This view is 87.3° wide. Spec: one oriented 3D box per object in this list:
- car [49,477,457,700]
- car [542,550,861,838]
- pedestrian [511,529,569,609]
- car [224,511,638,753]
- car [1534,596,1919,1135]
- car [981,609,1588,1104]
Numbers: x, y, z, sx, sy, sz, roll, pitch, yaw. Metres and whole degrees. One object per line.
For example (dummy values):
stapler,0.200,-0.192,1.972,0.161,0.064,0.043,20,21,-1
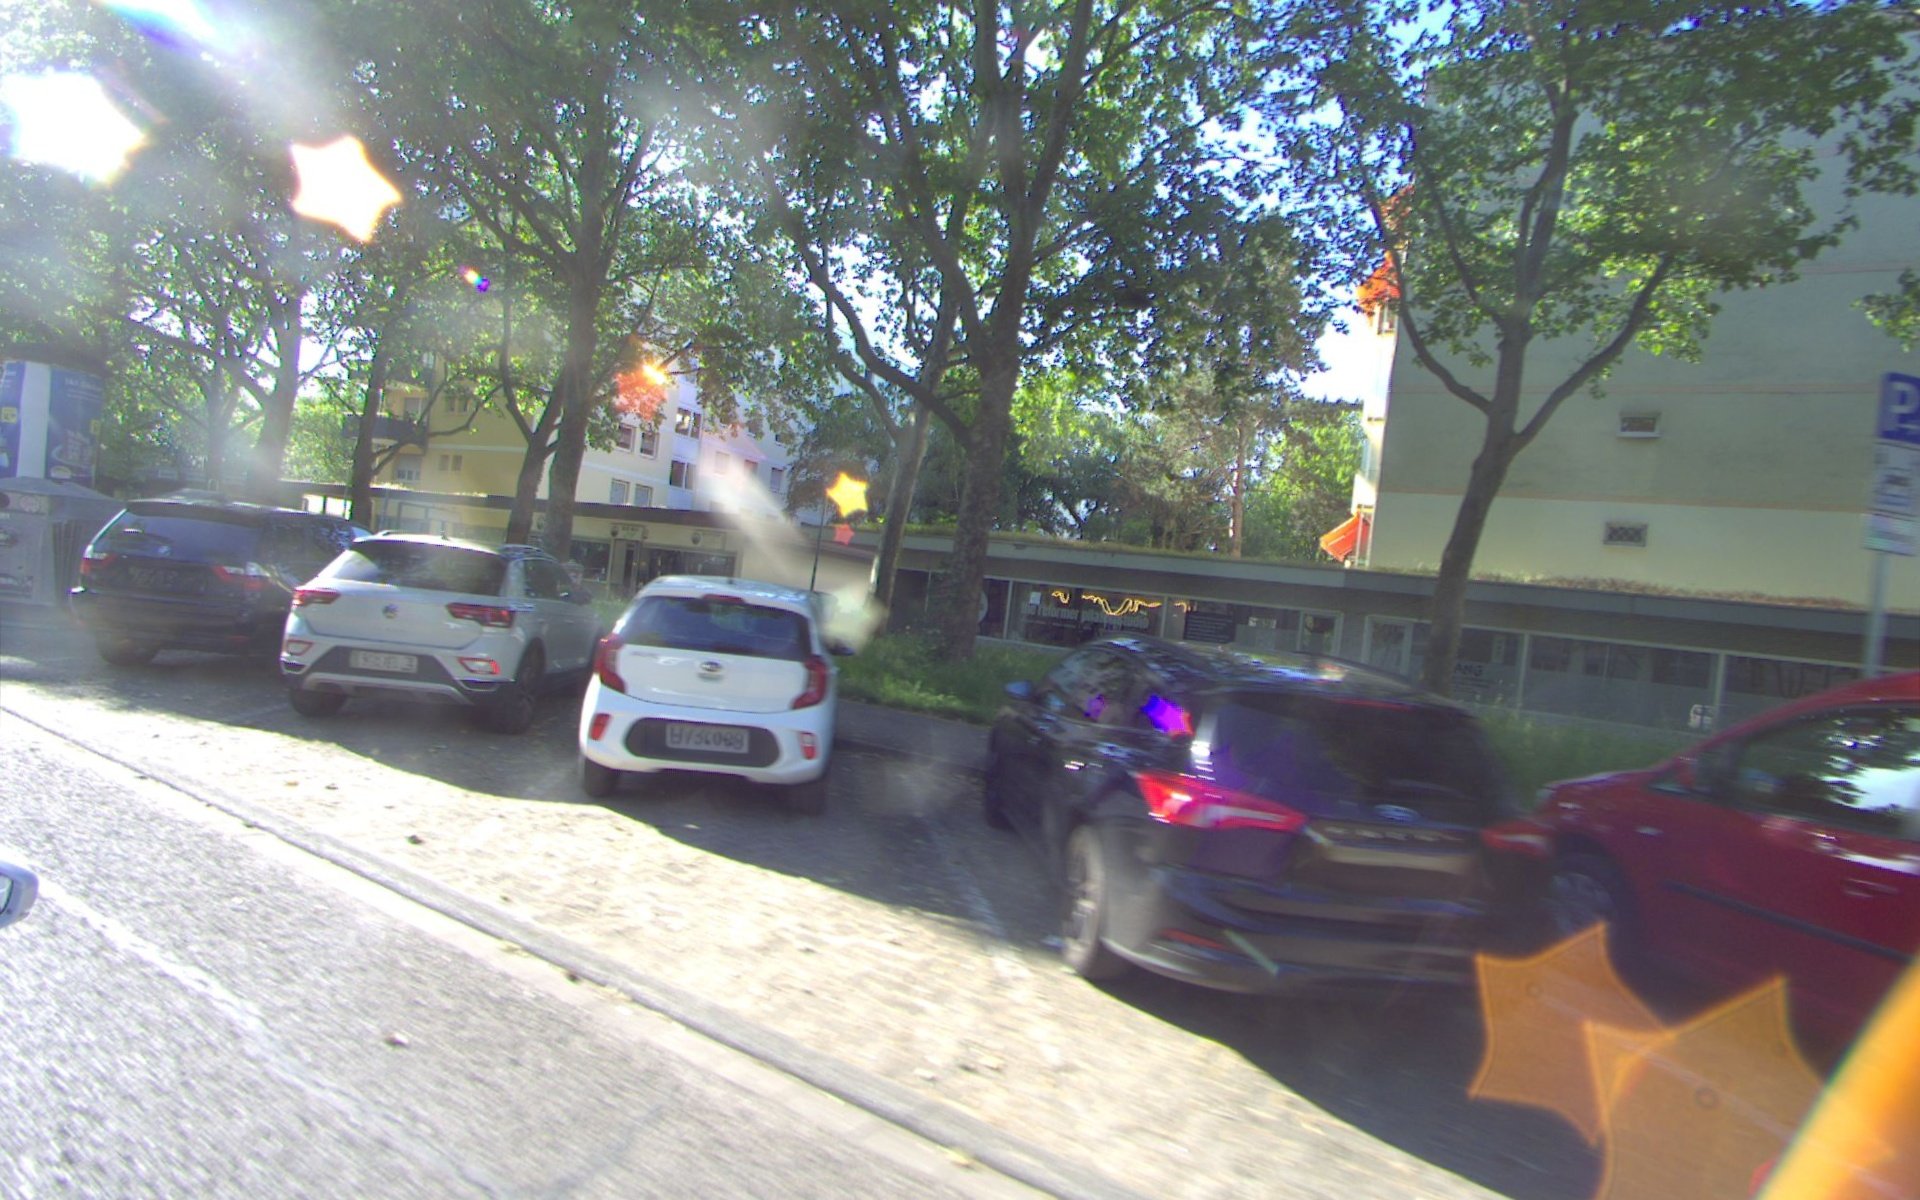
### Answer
car,-7.219,-0.089,10.914,1.607,1.737,4.316,7,-1,-7
car,-1.909,0.553,8.153,1.751,1.602,4.076,6,0,-10
pedestrian,-10.928,-0.799,26.197,0.855,1.937,0.875,7,0,23
car,-4.560,0.226,9.480,1.749,1.602,4.082,6,0,-3
car,4.212,1.023,3.411,1.623,1.834,4.078,6,0,-8
car,1.179,0.925,5.518,1.621,1.500,4.081,6,0,-4
